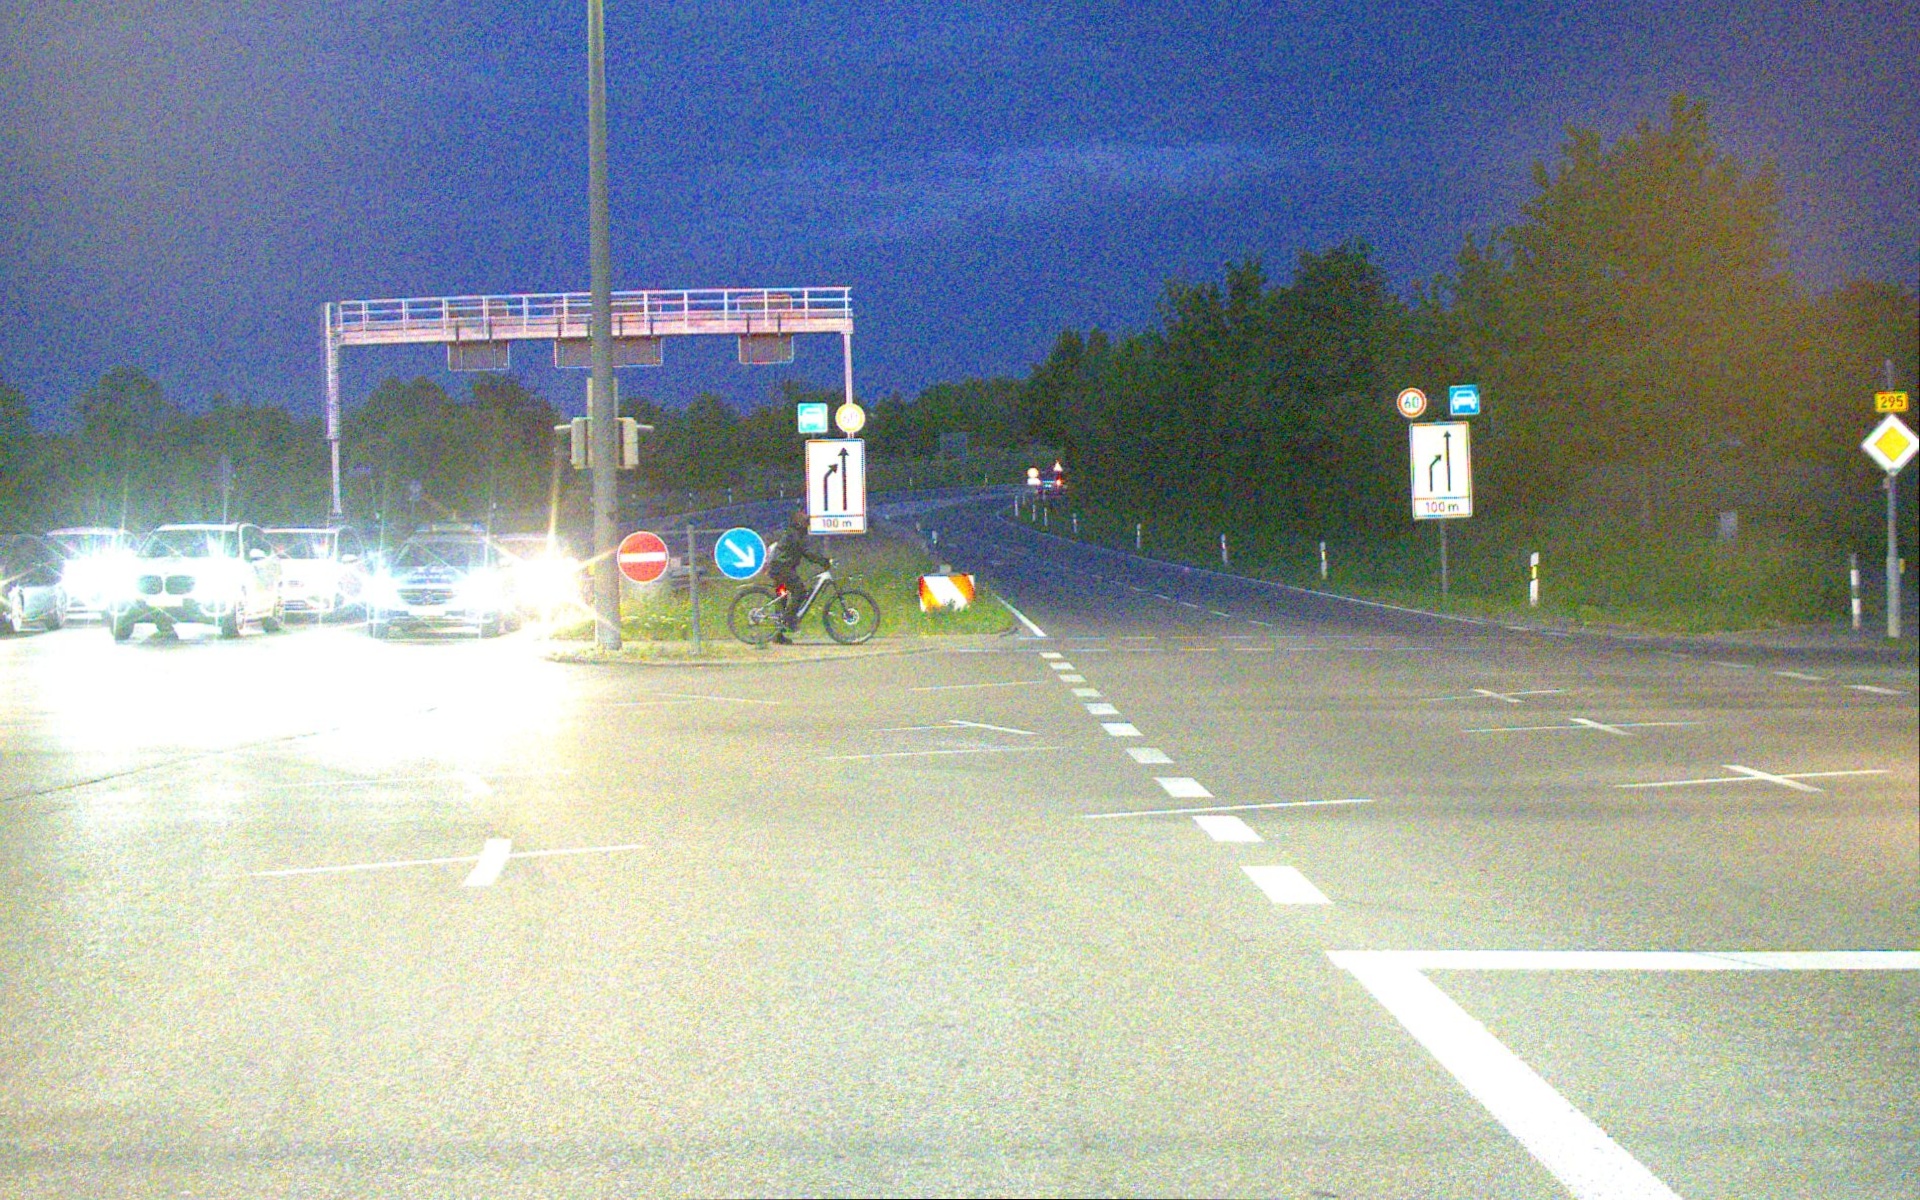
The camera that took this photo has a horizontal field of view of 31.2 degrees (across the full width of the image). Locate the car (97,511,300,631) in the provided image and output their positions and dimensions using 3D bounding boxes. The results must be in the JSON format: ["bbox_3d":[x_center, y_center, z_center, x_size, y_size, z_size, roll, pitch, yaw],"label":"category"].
[{"bbox_3d":[-11.133,-0.467,50.556,1.908,1.676,4.420,0,2,1],"label":"car"}]

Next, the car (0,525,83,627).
[{"bbox_3d":[-14.704,-0.391,51.688,1.780,1.441,4.291,0,2,2],"label":"car"}]

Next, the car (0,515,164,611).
[{"bbox_3d":[-14.832,-0.648,57.987,1.831,1.519,4.000,-1,2,0],"label":"car"}]

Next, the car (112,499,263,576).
[{"bbox_3d":[-14.717,-1.217,65.714,1.831,1.385,4.397,-1,2,0],"label":"car"}]

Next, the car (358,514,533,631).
[{"bbox_3d":[-7.532,-0.439,50.710,1.852,1.627,4.585,0,2,1],"label":"car"}]

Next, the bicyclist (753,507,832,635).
[{"bbox_3d":[-2.176,-0.373,44.562,0.997,1.645,0.604,0,1,-5],"label":"bicyclist"}]

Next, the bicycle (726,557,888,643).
[{"bbox_3d":[-1.990,-0.003,44.571,2.061,1.097,0.695,0,1,-5],"label":"bicycle"}]

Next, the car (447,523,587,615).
[{"bbox_3d":[-7.523,-0.552,58.661,1.773,1.476,3.910,1,1,1],"label":"car"}]

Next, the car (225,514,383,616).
[{"bbox_3d":[-11.018,-0.622,57.977,1.745,1.621,4.363,0,2,1],"label":"car"}]
